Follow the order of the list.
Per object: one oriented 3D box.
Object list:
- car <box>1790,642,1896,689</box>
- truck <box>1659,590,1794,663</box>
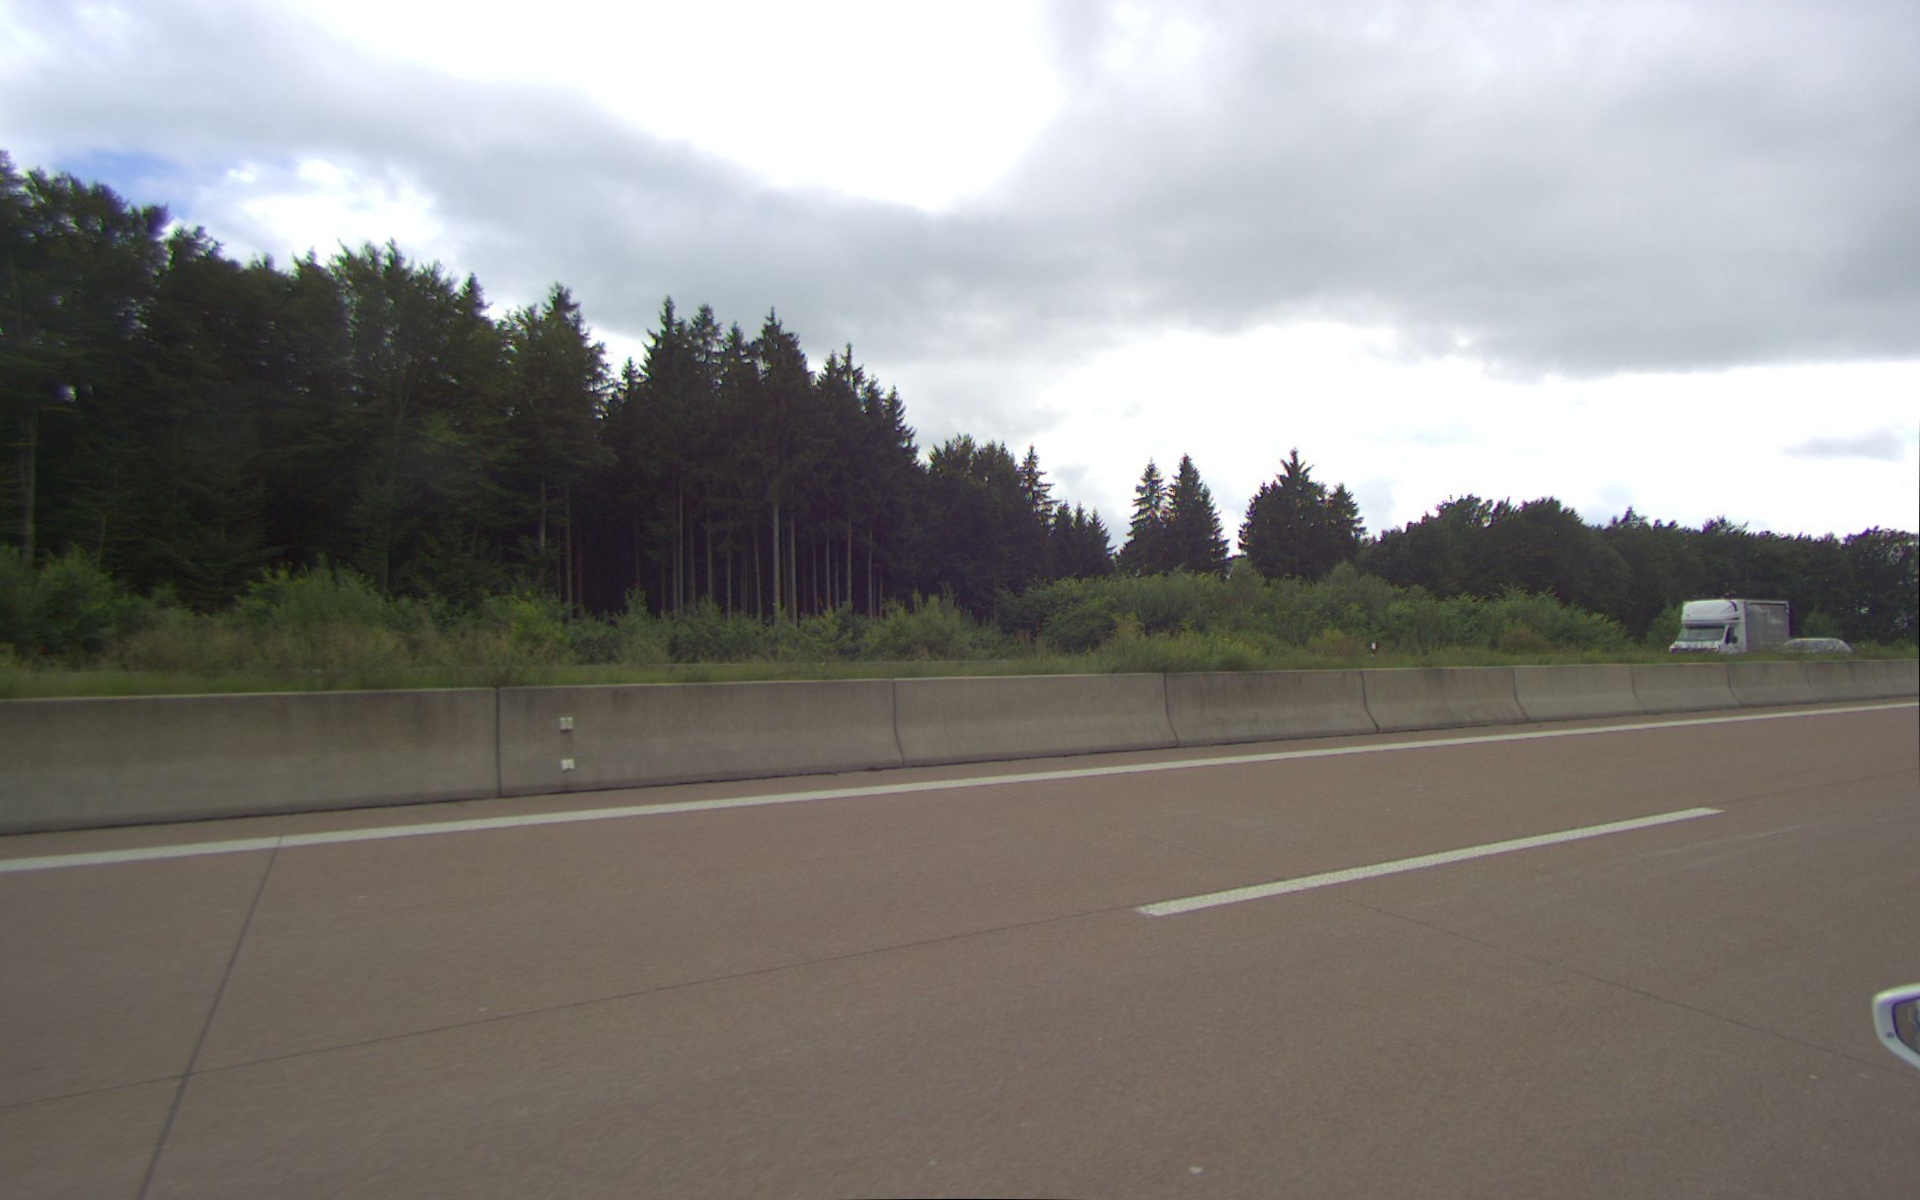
[{"bbox_3d":[35.358,2.585,40.212,4.117,1.675,1.983,1,1,-31],"label":"car"},{"bbox_3d":[35.699,1.238,46.714,7.395,3.141,2.344,1,1,-31],"label":"truck"}]
